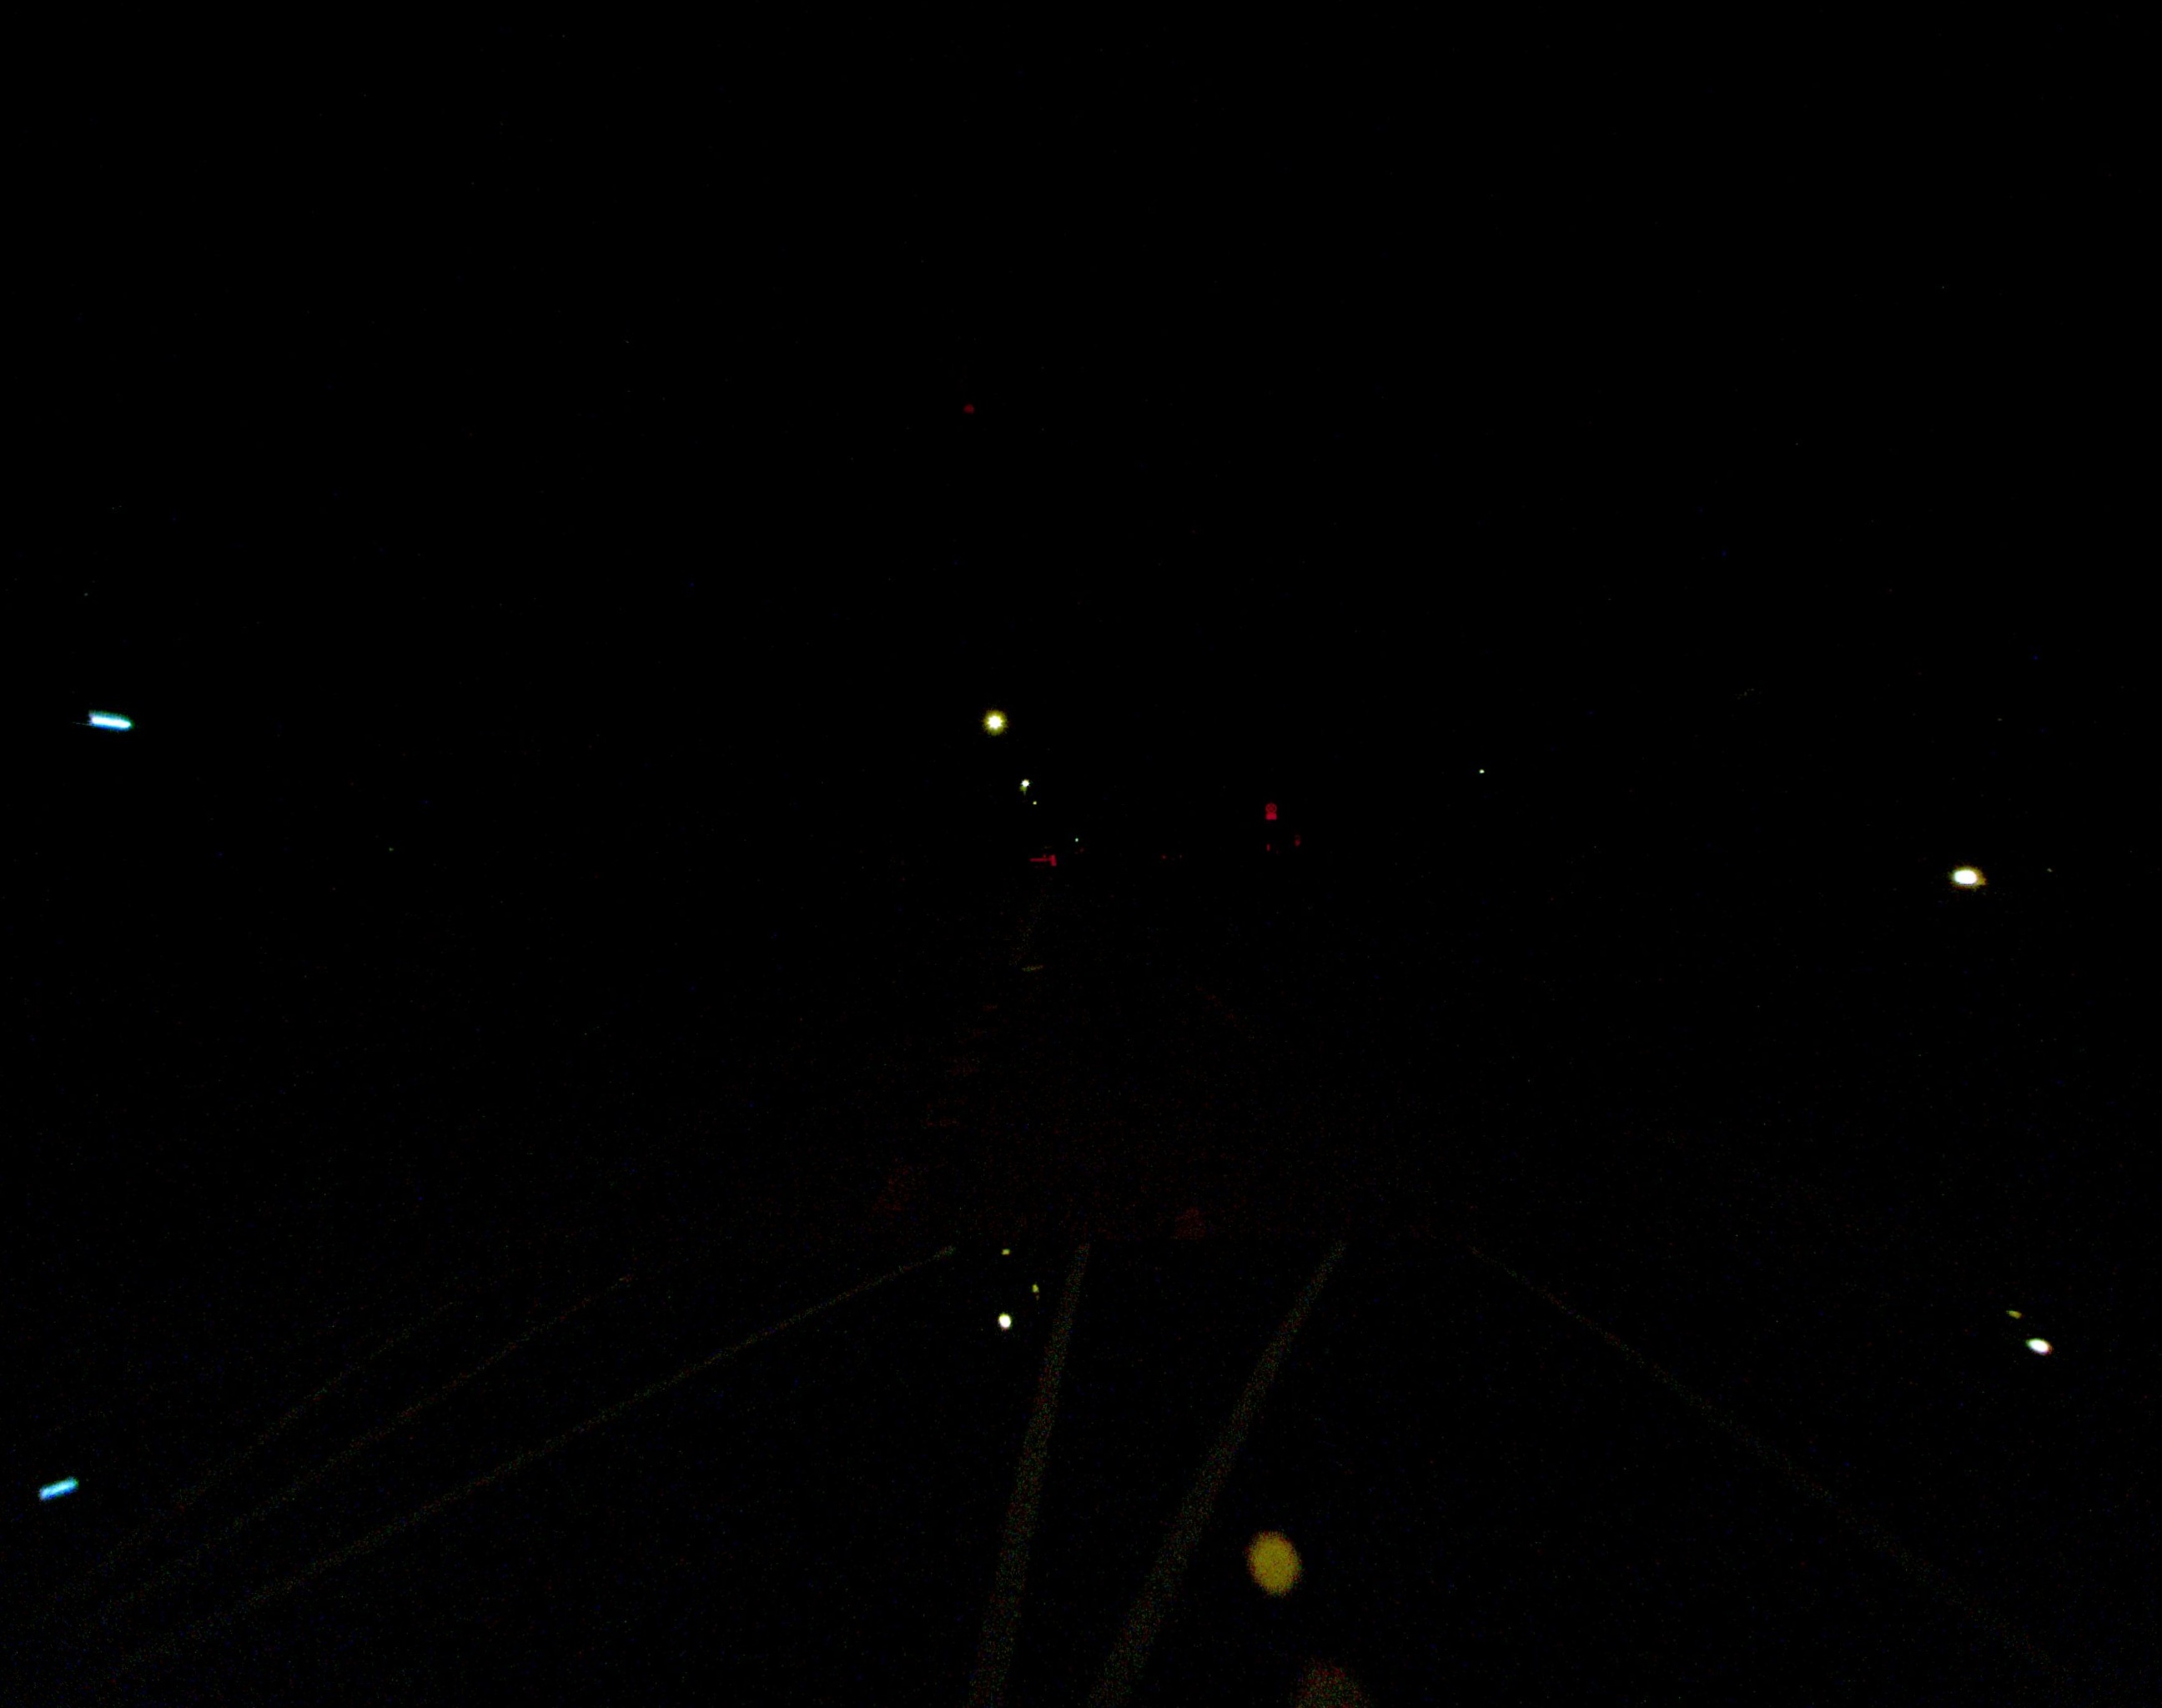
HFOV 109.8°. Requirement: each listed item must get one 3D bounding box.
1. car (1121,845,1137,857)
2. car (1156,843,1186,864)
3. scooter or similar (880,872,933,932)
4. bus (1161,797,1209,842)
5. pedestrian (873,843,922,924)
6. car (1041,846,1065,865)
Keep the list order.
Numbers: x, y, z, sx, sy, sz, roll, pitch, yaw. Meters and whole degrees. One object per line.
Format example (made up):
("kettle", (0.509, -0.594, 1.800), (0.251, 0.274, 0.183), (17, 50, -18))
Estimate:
("car", (6.281, -0.435, 100.506), (1.863, 1.484, 4.080), (-2, 1, 1))
("car", (7.170, -0.060, 60.854), (1.806, 1.583, 3.999), (-2, 1, -1))
("scooter or similar", (-3.673, 0.995, 16.046), (0.468, 1.195, 1.137), (-2, 0, 24))
("bus", (17.457, -5.606, 129.283), (6.135, 6.898, 14.781), (-2, 1, 1))
("pedestrian", (-4.369, 0.686, 18.151), (0.819, 1.854, 1.034), (-2, 1, 1))
("car", (-2.880, 0.124, 78.150), (1.998, 1.638, 3.999), (2, 3, 4))
